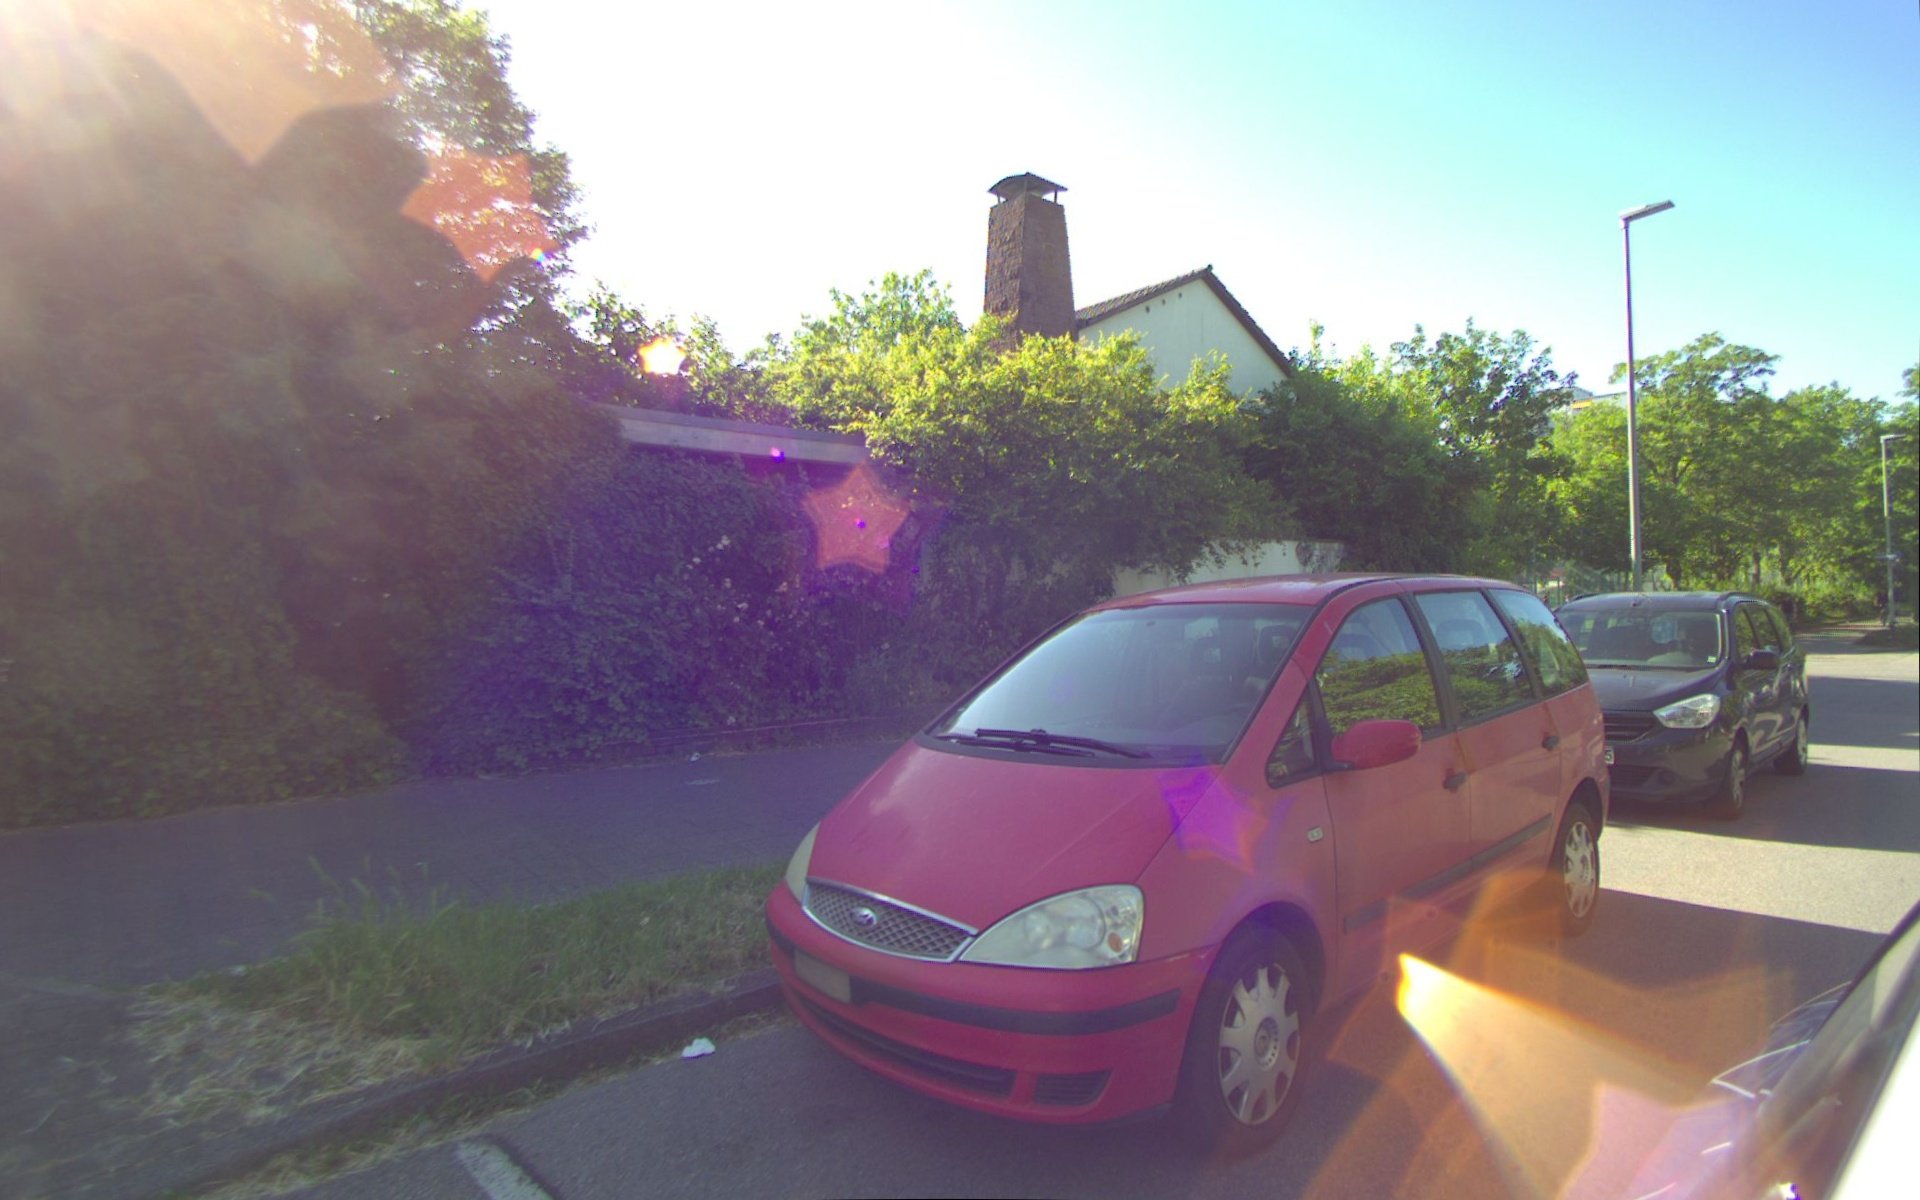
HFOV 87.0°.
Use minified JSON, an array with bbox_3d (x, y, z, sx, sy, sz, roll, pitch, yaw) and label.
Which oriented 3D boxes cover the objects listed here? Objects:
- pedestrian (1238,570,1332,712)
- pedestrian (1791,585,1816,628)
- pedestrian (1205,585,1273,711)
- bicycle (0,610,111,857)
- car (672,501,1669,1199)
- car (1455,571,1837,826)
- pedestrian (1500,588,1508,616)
[{"bbox_3d":[4.211,0.485,13.093,0.968,1.738,0.804,-2,2,-44],"label":"pedestrian"},{"bbox_3d":[33.051,0.252,39.651,0.629,1.659,0.641,0,-1,-38],"label":"pedestrian"},{"bbox_3d":[3.771,0.619,13.655,0.780,1.629,0.573,-2,2,-45],"label":"pedestrian"},{"bbox_3d":[-5.696,0.706,5.229,1.857,1.236,0.724,-1,2,-25],"label":"bicycle"},{"bbox_3d":[1.297,0.685,4.438,4.571,1.828,1.843,-1,-1,-40],"label":"car"},{"bbox_3d":[6.071,0.649,8.740,4.277,1.677,1.727,0,-1,-42],"label":"car"},{"bbox_3d":[31.015,0.103,57.682,0.319,1.555,0.387,-1,-1,45],"label":"pedestrian"}]
